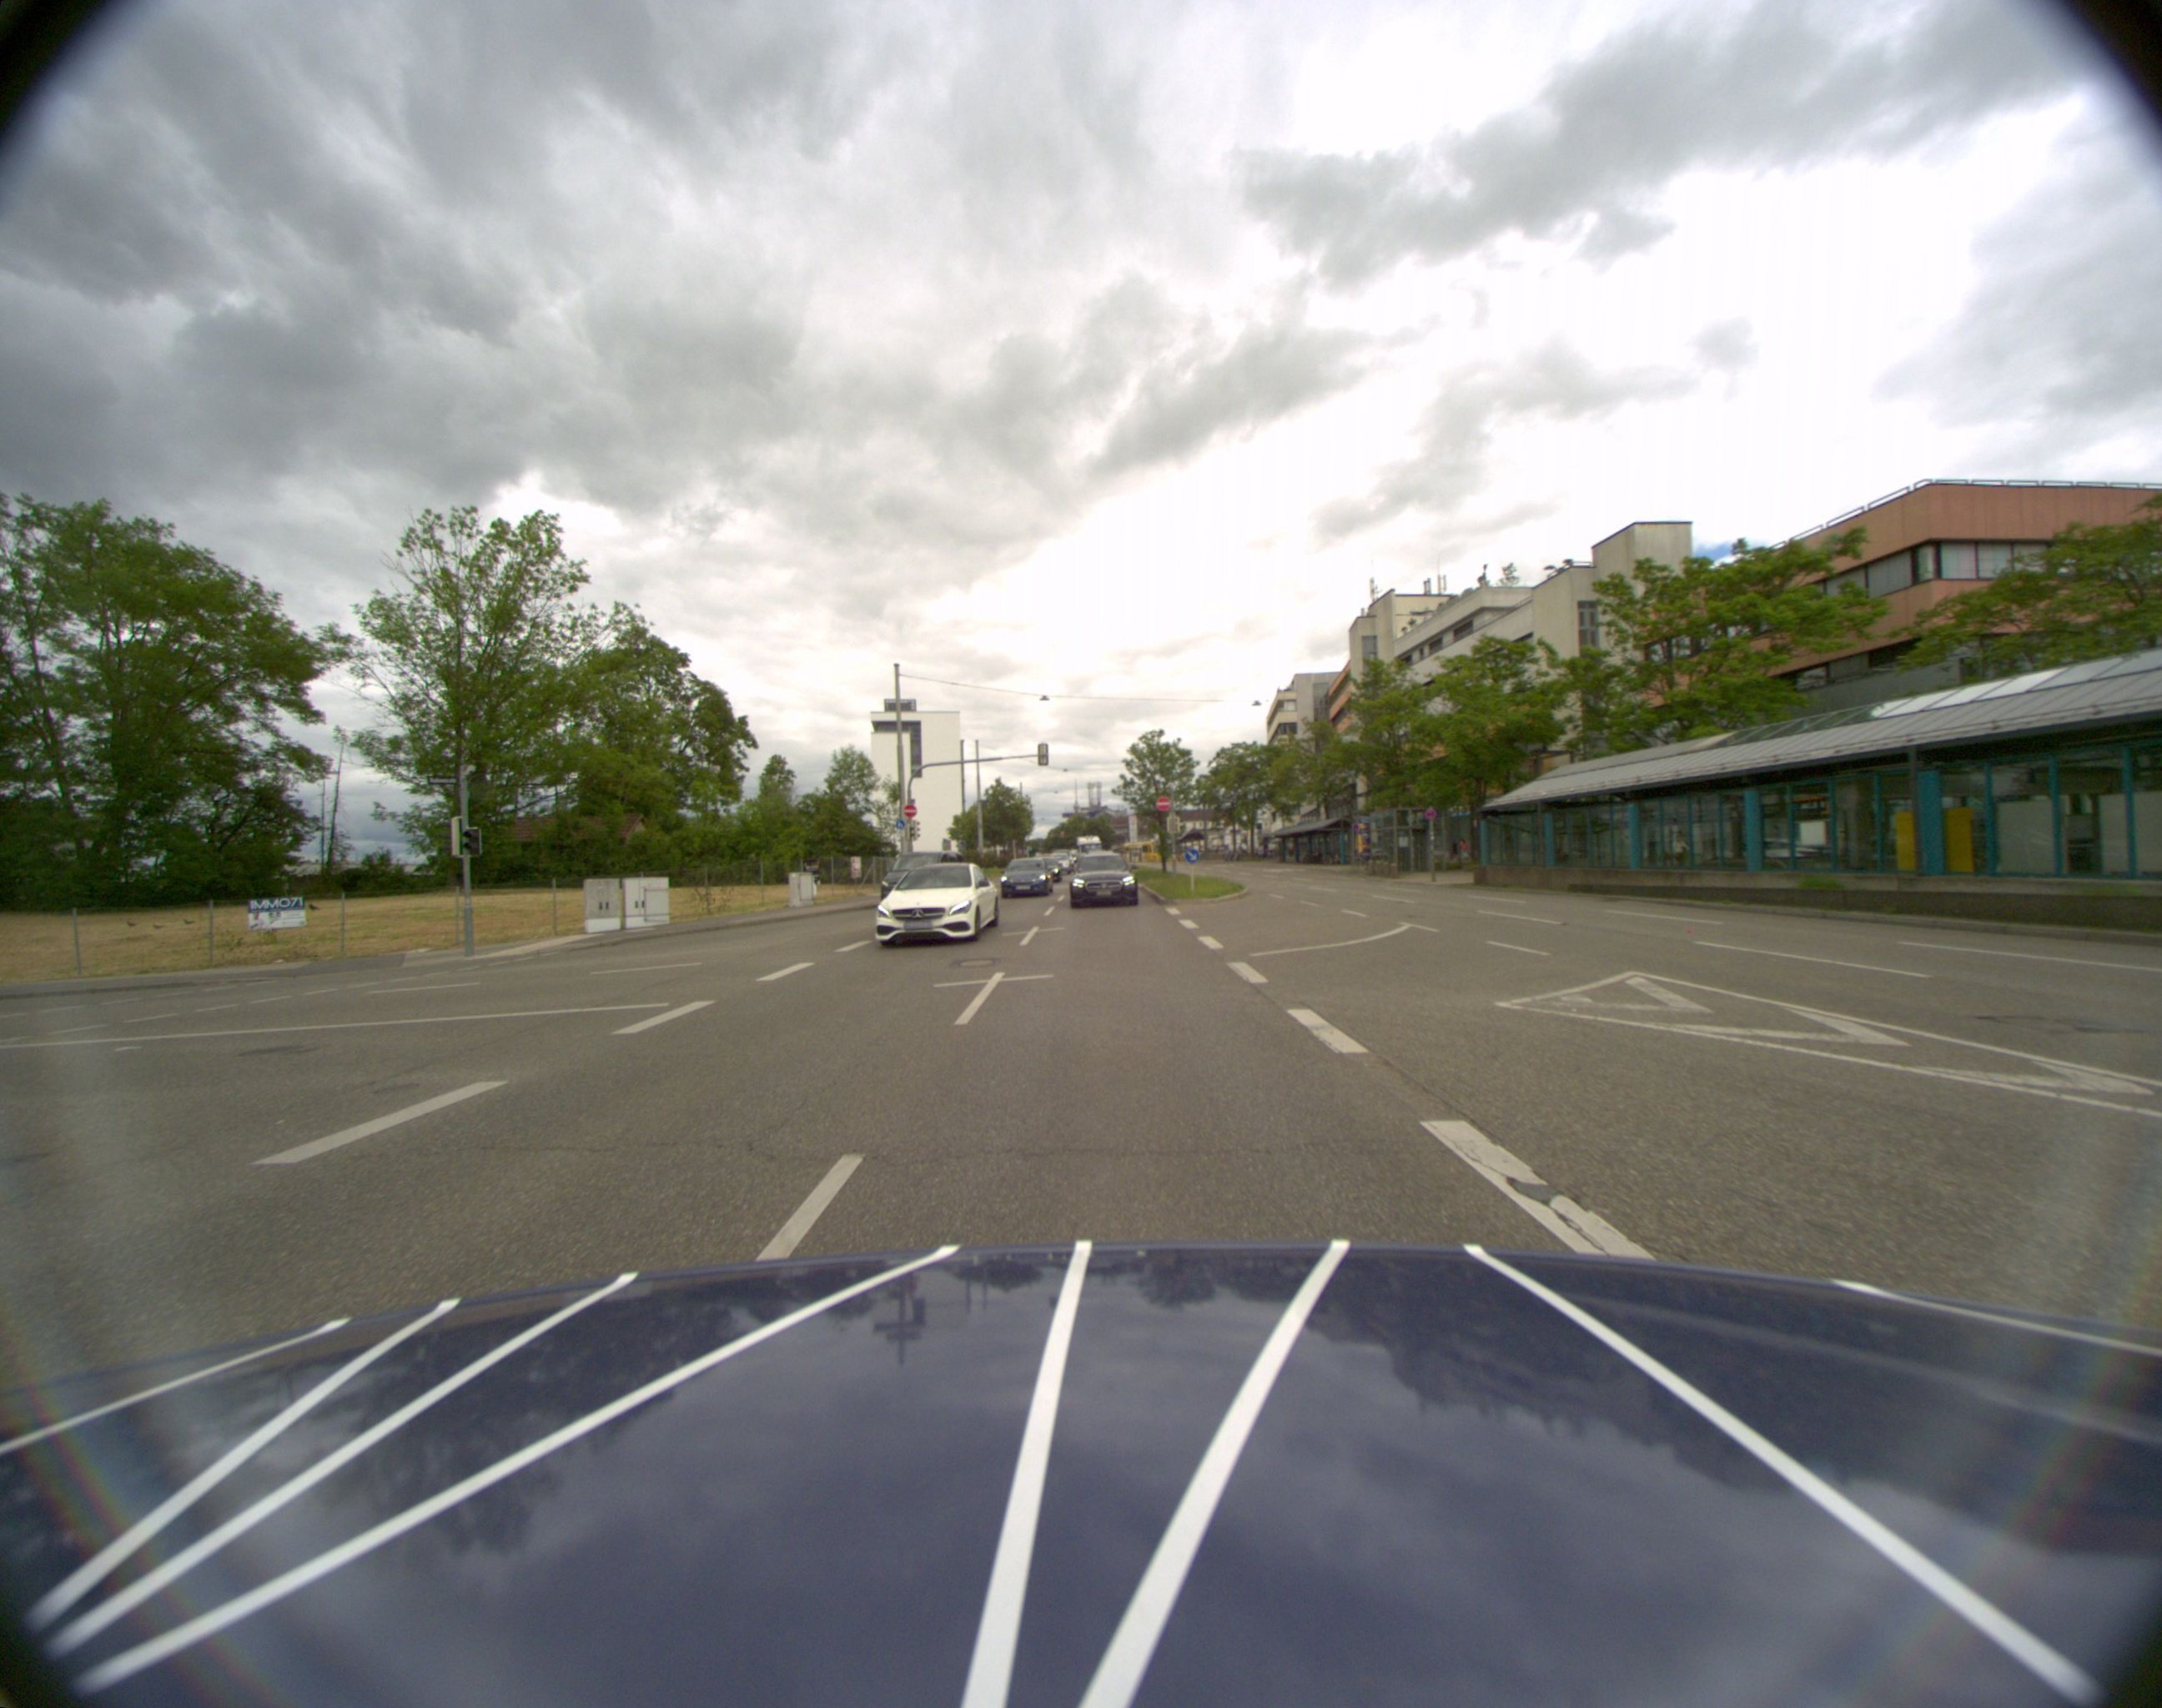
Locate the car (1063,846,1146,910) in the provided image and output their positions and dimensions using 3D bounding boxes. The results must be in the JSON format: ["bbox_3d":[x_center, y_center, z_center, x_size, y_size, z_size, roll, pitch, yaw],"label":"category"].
[{"bbox_3d":[0.598,0.593,21.730,2.058,1.478,4.971,-2,2,0],"label":"car"}]

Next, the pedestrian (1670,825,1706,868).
[{"bbox_3d":[24.210,-0.300,30.340,0.779,1.670,0.827,-1,1,2],"label":"pedestrian"}]

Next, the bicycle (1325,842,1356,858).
[{"bbox_3d":[20.411,-0.324,59.810,2.206,1.084,0.542,-3,1,-5],"label":"bicycle"}]

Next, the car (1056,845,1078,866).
[{"bbox_3d":[-1.293,0.133,70.455,2.020,1.760,3.999,-2,0,-1],"label":"car"}]

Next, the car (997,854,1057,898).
[{"bbox_3d":[-2.019,0.805,29.518,1.798,1.464,4.310,-3,0,2],"label":"car"}]

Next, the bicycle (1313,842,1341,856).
[{"bbox_3d":[20.049,-0.401,61.832,2.070,1.084,0.542,-3,1,-5],"label":"bicycle"}]

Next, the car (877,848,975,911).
[{"bbox_3d":[-5.182,0.783,26.187,2.014,1.877,4.875,-1,1,4],"label":"car"}]

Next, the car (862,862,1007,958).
[{"bbox_3d":[-2.695,0.968,15.151,1.798,1.464,4.699,-1,1,2],"label":"car"}]

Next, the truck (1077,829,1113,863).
[{"bbox_3d":[1.380,-0.780,77.931,3.119,3.209,6.522,-2,0,-4],"label":"truck"}]

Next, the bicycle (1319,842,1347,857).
[{"bbox_3d":[20.125,-0.347,60.681,2.070,1.132,0.542,-3,1,-5],"label":"bicycle"}]

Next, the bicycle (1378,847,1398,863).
[{"bbox_3d":[19.731,0.047,48.877,0.521,1.021,2.050,-3,0,2],"label":"bicycle"}]

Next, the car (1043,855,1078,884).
[{"bbox_3d":[-1.198,0.840,43.269,1.769,1.440,4.418,-1,1,-4],"label":"car"}]

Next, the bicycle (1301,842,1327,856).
[{"bbox_3d":[19.928,-0.435,64.998,2.069,1.084,0.542,-3,1,0],"label":"bicycle"}]

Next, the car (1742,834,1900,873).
[{"bbox_3d":[29.659,-0.039,30.699,1.693,1.392,4.719,-1,1,-2],"label":"car"}]

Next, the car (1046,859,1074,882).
[{"bbox_3d":[-1.518,1.196,56.146,1.798,1.464,4.310,-1,1,2],"label":"car"}]

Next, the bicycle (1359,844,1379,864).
[{"bbox_3d":[18.455,-0.009,48.708,0.521,1.218,1.949,-3,1,2],"label":"bicycle"}]

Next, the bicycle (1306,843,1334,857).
[{"bbox_3d":[19.861,-0.353,63.106,2.069,1.084,0.542,-3,1,0],"label":"bicycle"}]

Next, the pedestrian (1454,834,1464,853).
[{"bbox_3d":[28.299,-0.760,56.857,0.462,1.424,0.580,-1,1,2],"label":"pedestrian"}]

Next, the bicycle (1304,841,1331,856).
[{"bbox_3d":[19.934,-0.484,64.080,2.069,1.132,0.542,-3,1,0],"label":"bicycle"}]
